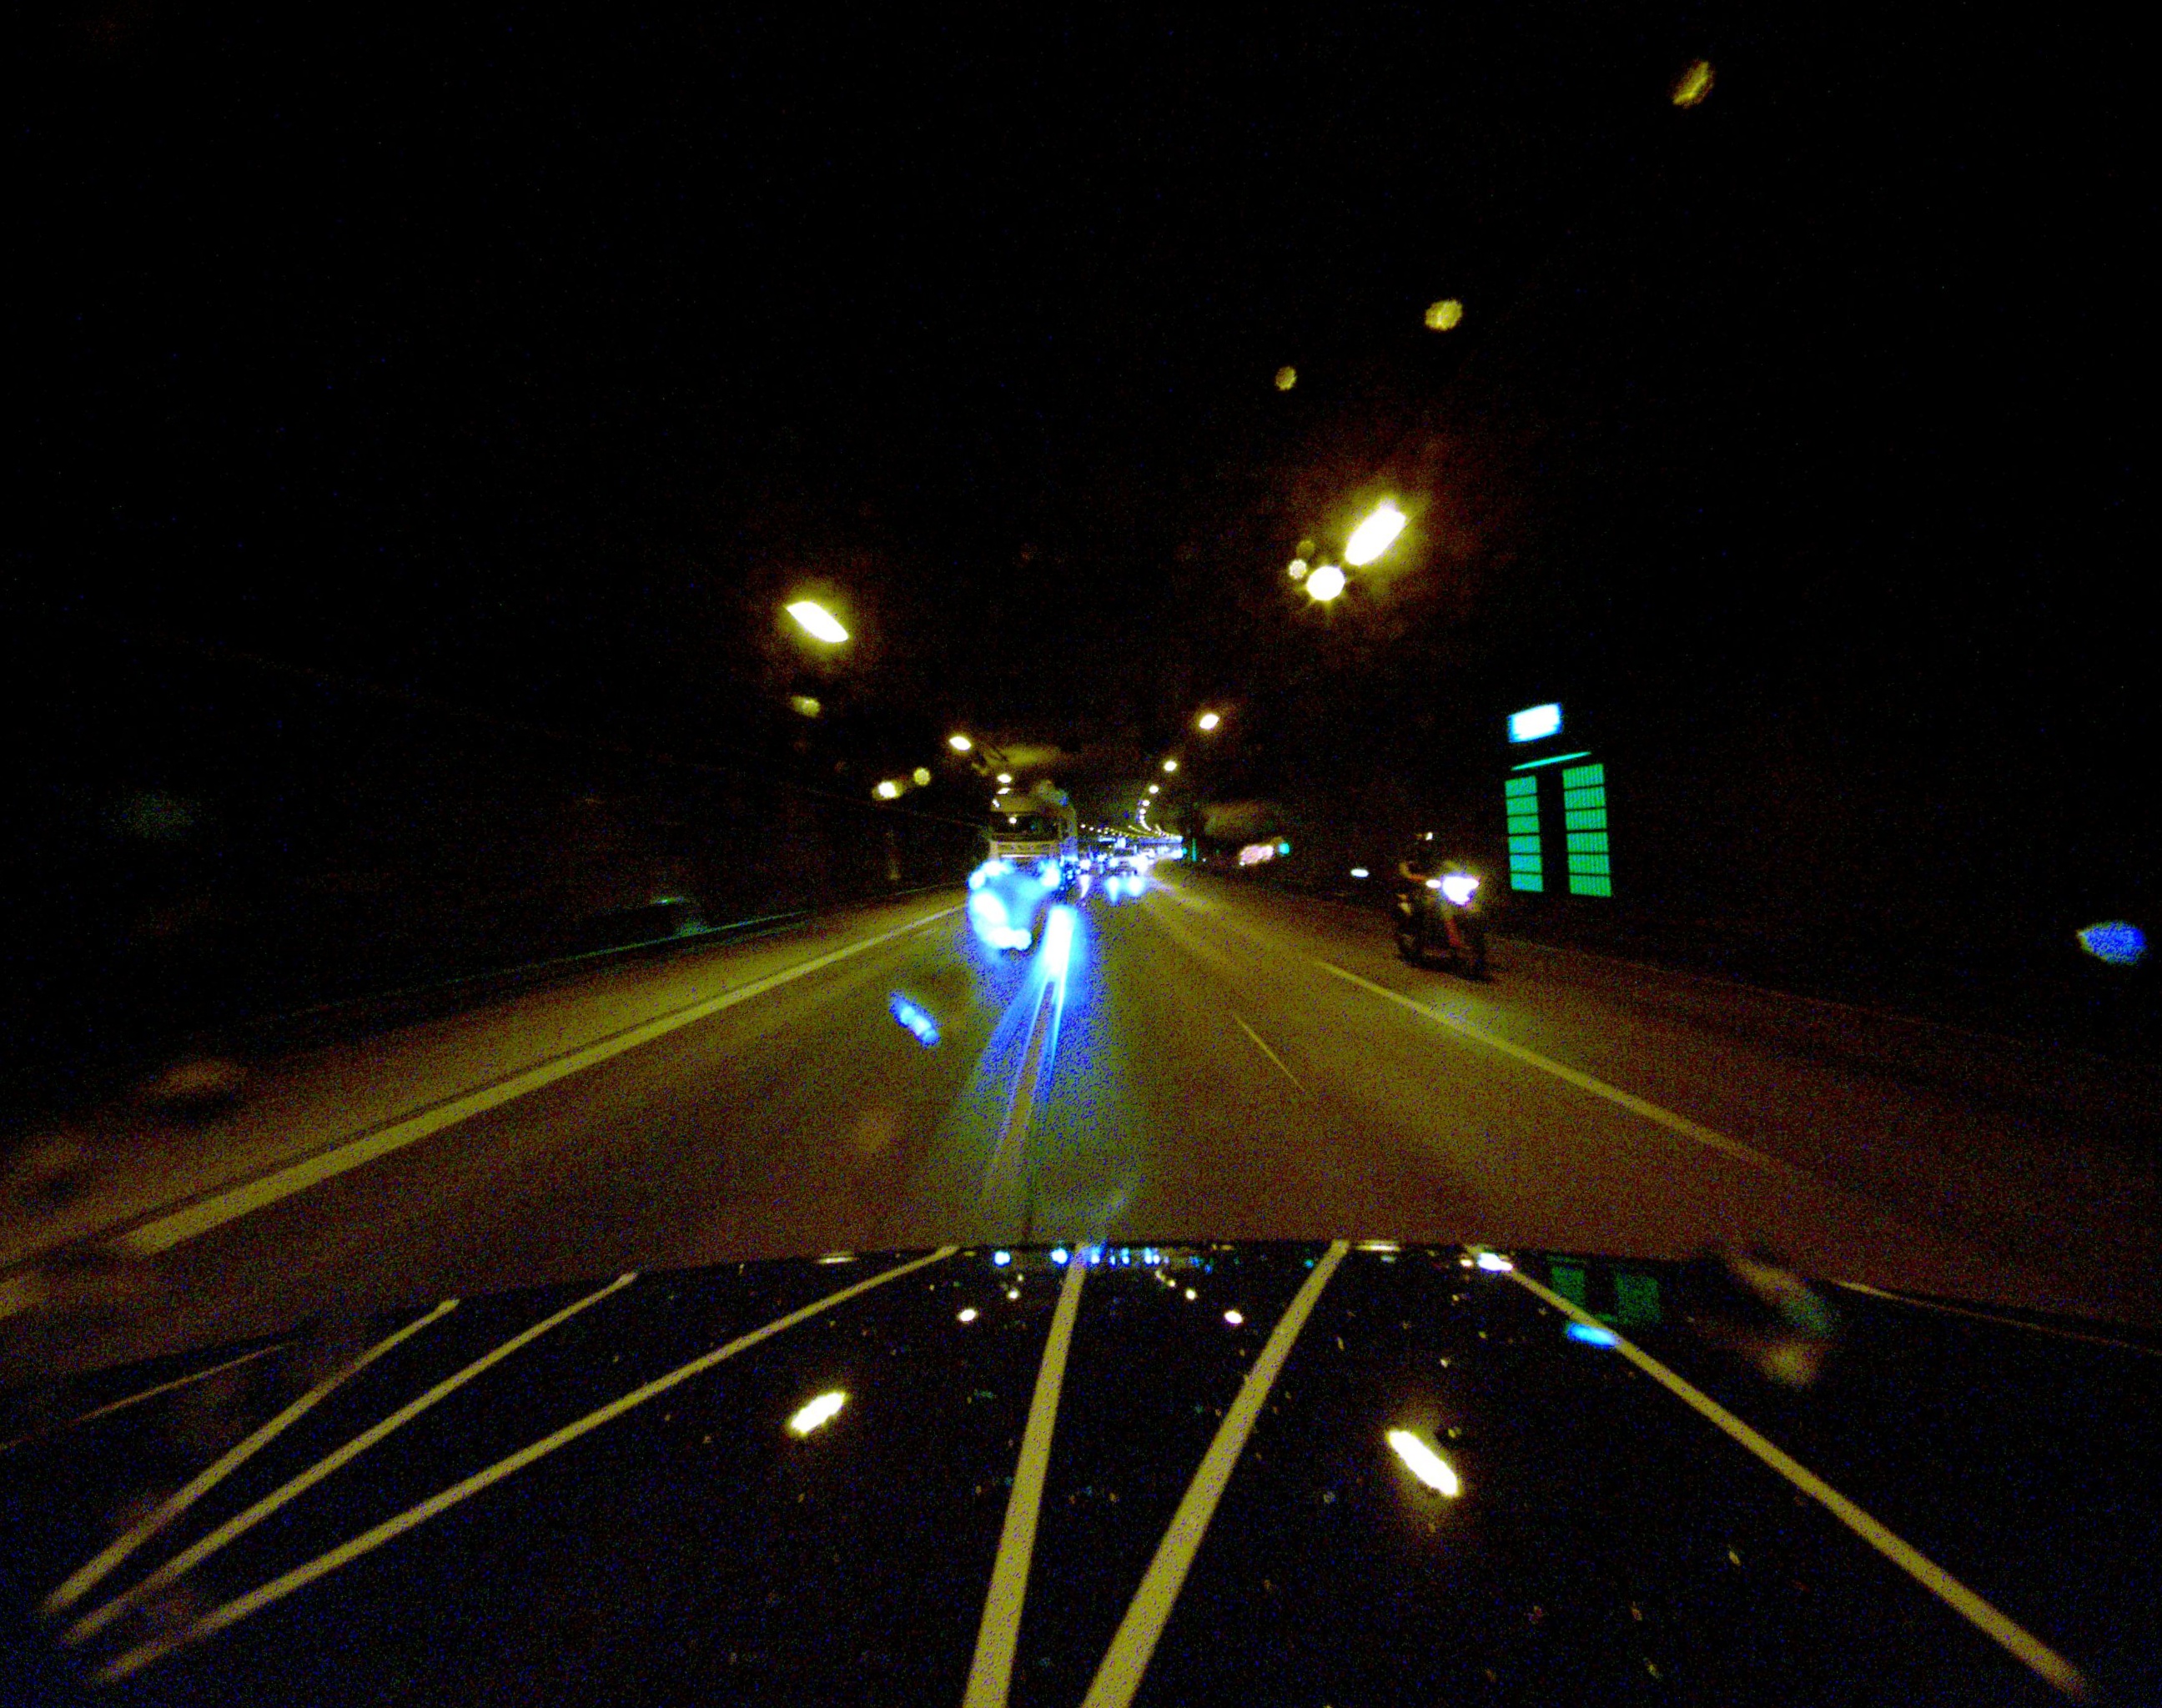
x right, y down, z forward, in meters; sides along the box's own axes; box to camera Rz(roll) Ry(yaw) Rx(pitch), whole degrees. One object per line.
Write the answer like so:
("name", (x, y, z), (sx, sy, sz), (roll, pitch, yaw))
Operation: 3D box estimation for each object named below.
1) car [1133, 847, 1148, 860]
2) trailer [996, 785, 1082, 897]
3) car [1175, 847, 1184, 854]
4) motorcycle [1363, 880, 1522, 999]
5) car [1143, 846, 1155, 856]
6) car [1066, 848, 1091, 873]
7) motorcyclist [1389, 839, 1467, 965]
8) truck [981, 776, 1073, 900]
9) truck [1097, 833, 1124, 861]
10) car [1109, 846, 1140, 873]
("car", (8.955, -0.102, 113.610), (1.997, 1.788, 4.001), (-2, 1, 7))
("trailer", (-1.568, -0.531, 35.849), (2.627, 4.139, 14.001), (-3, 0, 2))
("car", (28.199, -1.065, 217.238), (1.997, 1.788, 4.003), (-2, 1, 13))
("motorcycle", (4.284, 0.958, 9.282), (1.055, 1.151, 2.429), (-1, 1, 8))
("car", (12.670, -0.598, 140.672), (1.997, 1.788, 4.002), (-2, 1, 8))
("car", (-0.187, 0.487, 60.442), (1.839, 1.849, 4.288), (-1, 1, 2))
("motorcyclist", (4.251, 0.564, 9.354), (0.628, 1.481, 0.891), (-1, 1, 8))
("truck", (-1.874, -0.567, 28.884), (2.652, 4.139, 6.005), (-2, 1, 3))
("truck", (4.410, -1.013, 111.473), (2.899, 3.819, 9.001), (-2, 1, 8))
("car", (3.202, 0.359, 56.494), (1.998, 1.890, 4.000), (-2, 0, 0))
